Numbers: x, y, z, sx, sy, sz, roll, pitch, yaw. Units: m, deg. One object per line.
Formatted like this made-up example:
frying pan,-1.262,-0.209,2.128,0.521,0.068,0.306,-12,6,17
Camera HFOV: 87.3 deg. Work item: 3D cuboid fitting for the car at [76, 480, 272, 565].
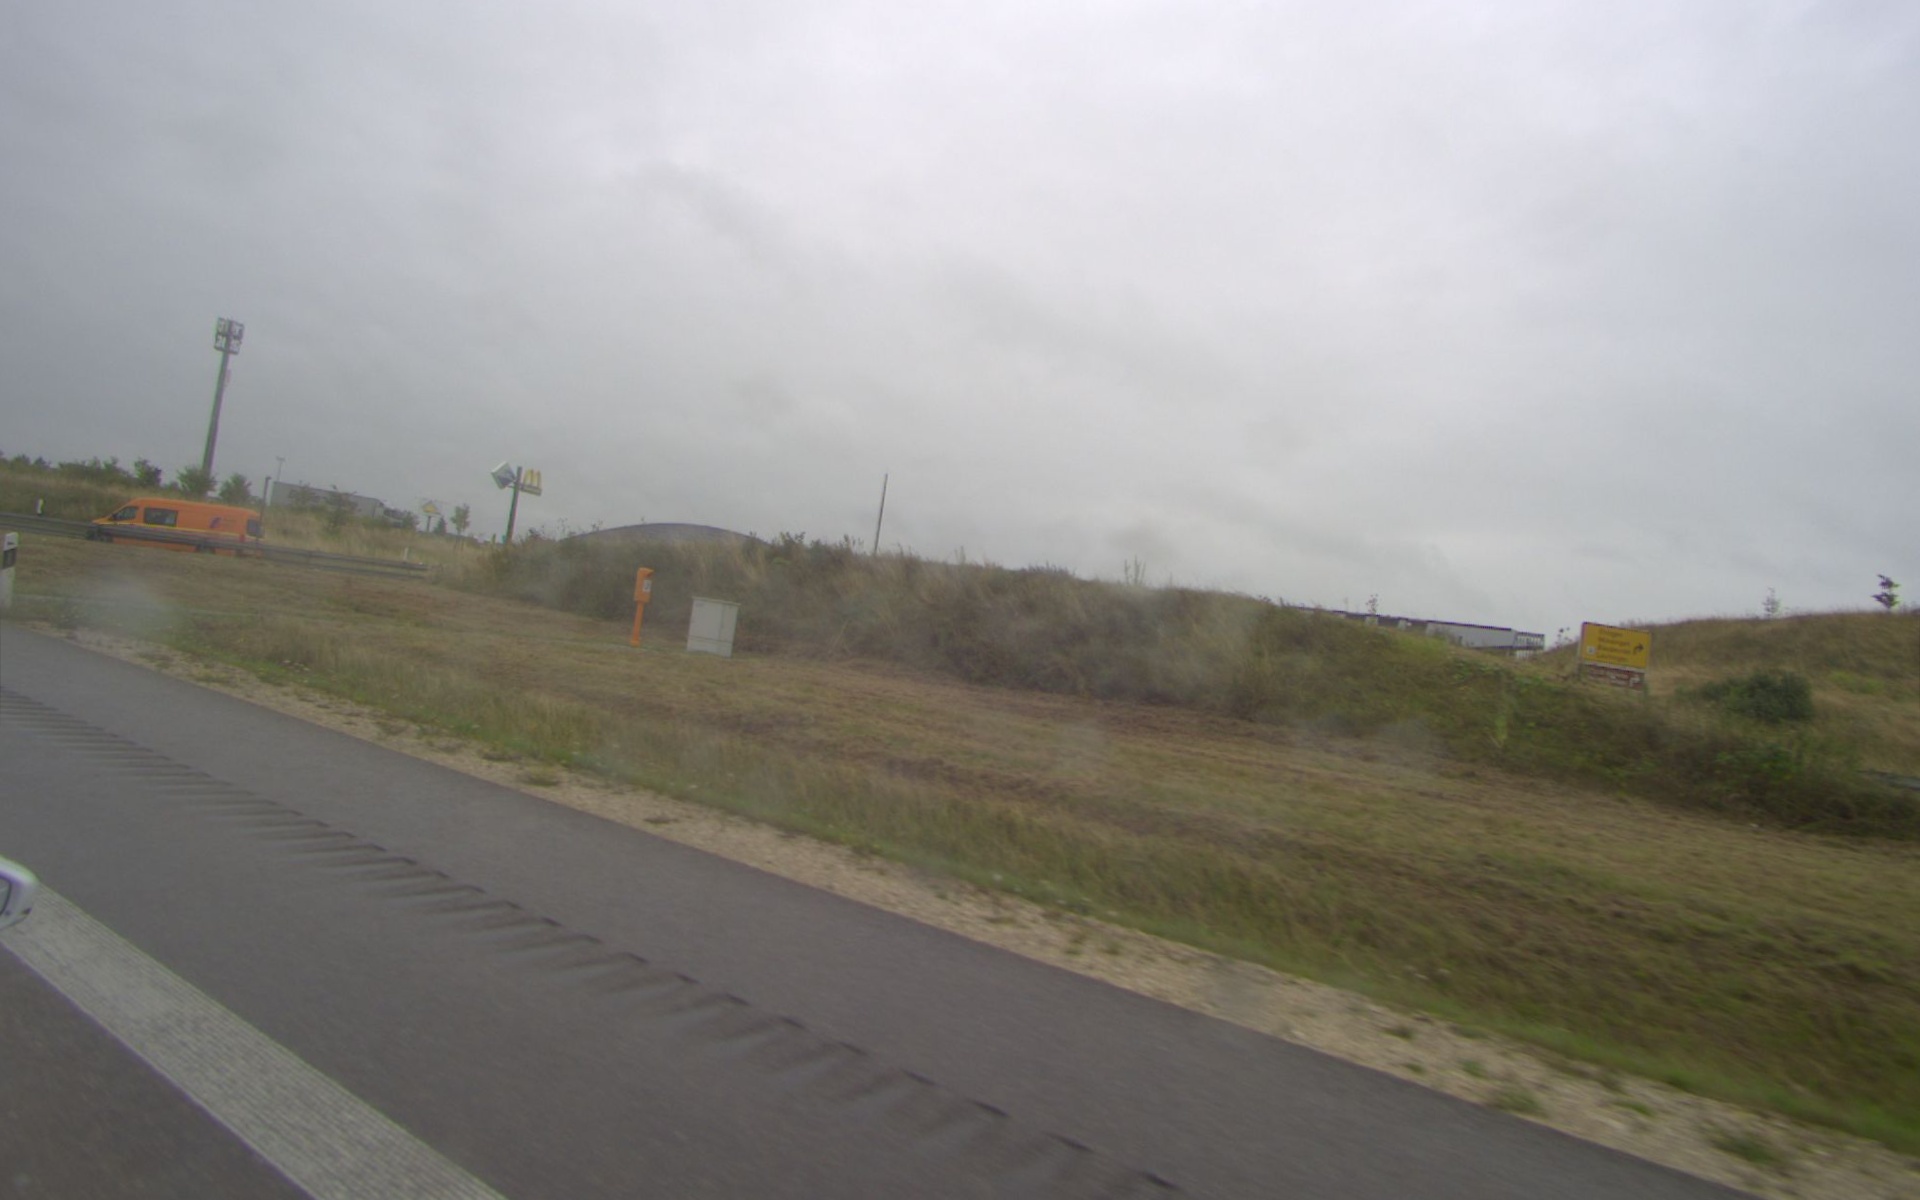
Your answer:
car,-36.855,-3.568,47.391,6.776,2.644,2.065,9,-2,-11
